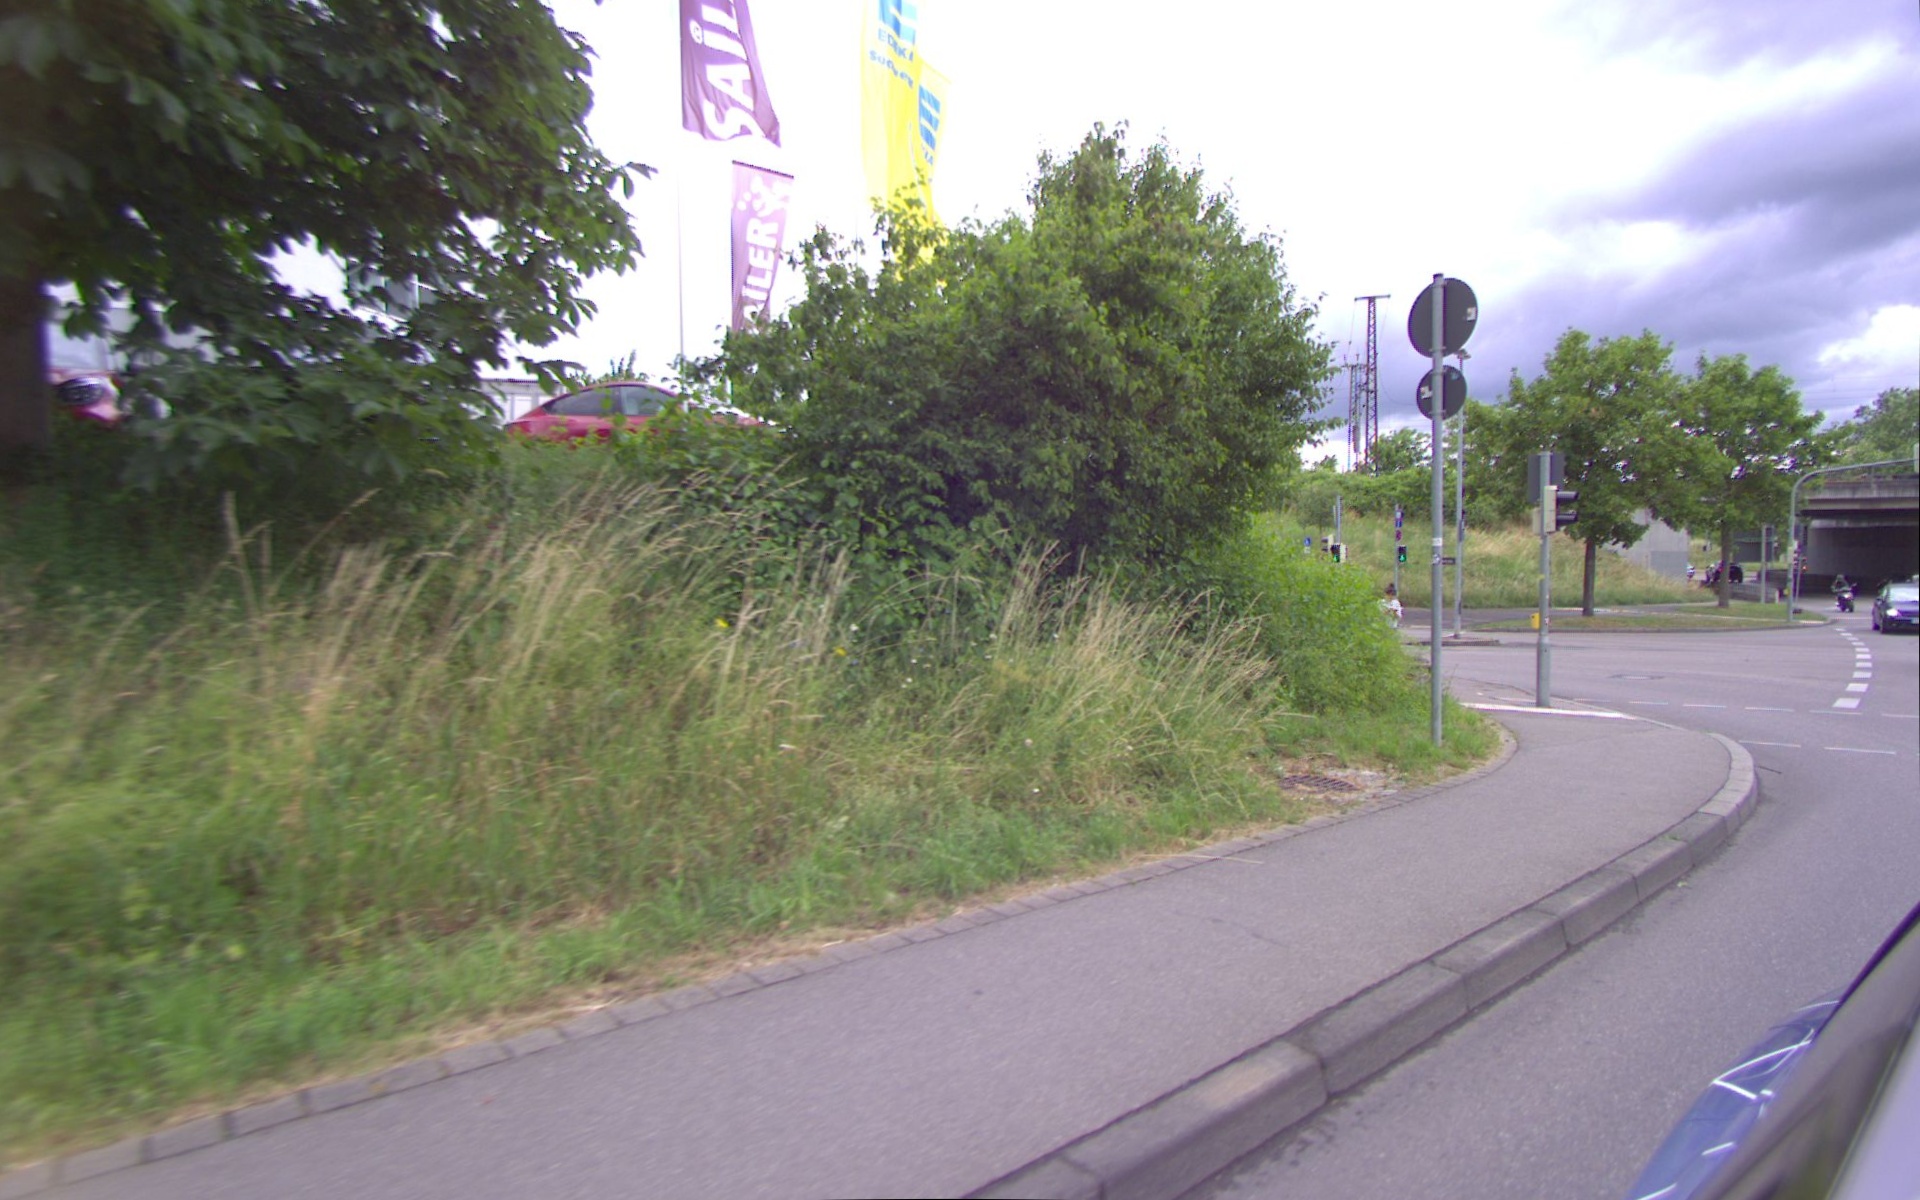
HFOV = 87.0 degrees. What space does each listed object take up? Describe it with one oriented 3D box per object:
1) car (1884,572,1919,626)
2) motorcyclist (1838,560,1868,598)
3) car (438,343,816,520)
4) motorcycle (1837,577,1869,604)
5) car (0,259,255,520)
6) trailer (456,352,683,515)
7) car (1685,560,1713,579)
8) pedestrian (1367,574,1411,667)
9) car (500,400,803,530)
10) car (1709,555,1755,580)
[{"bbox_3d":[30.500,-0.083,31.781,3.932,1.560,1.757,-3,1,-41],"label":"car"},{"bbox_3d":[39.702,-0.943,44.988,1.223,1.625,0.881,-2,1,-44],"label":"motorcyclist"},{"bbox_3d":[-4.266,-2.012,12.972,4.458,1.659,1.818,-1,1,22],"label":"car"},{"bbox_3d":[39.689,-0.416,44.966,2.322,1.118,0.881,-2,1,-44],"label":"motorcycle"},{"bbox_3d":[-8.235,-1.742,9.605,1.794,1.659,4.519,-2,1,-26],"label":"car"},{"bbox_3d":[-9.546,-3.939,25.602,2.429,3.093,6.479,-2,1,8],"label":"trailer"},{"bbox_3d":[66.228,-2.752,90.644,1.751,1.533,3.833,-1,1,40],"label":"car"},{"bbox_3d":[7.747,0.363,18.254,0.576,1.628,0.616,-1,1,35],"label":"pedestrian"},{"bbox_3d":[-5.009,-2.116,16.564,4.448,1.659,1.822,-2,1,16],"label":"car"},{"bbox_3d":[60.860,-2.552,79.837,1.944,1.813,3.970,-1,1,23],"label":"car"}]
